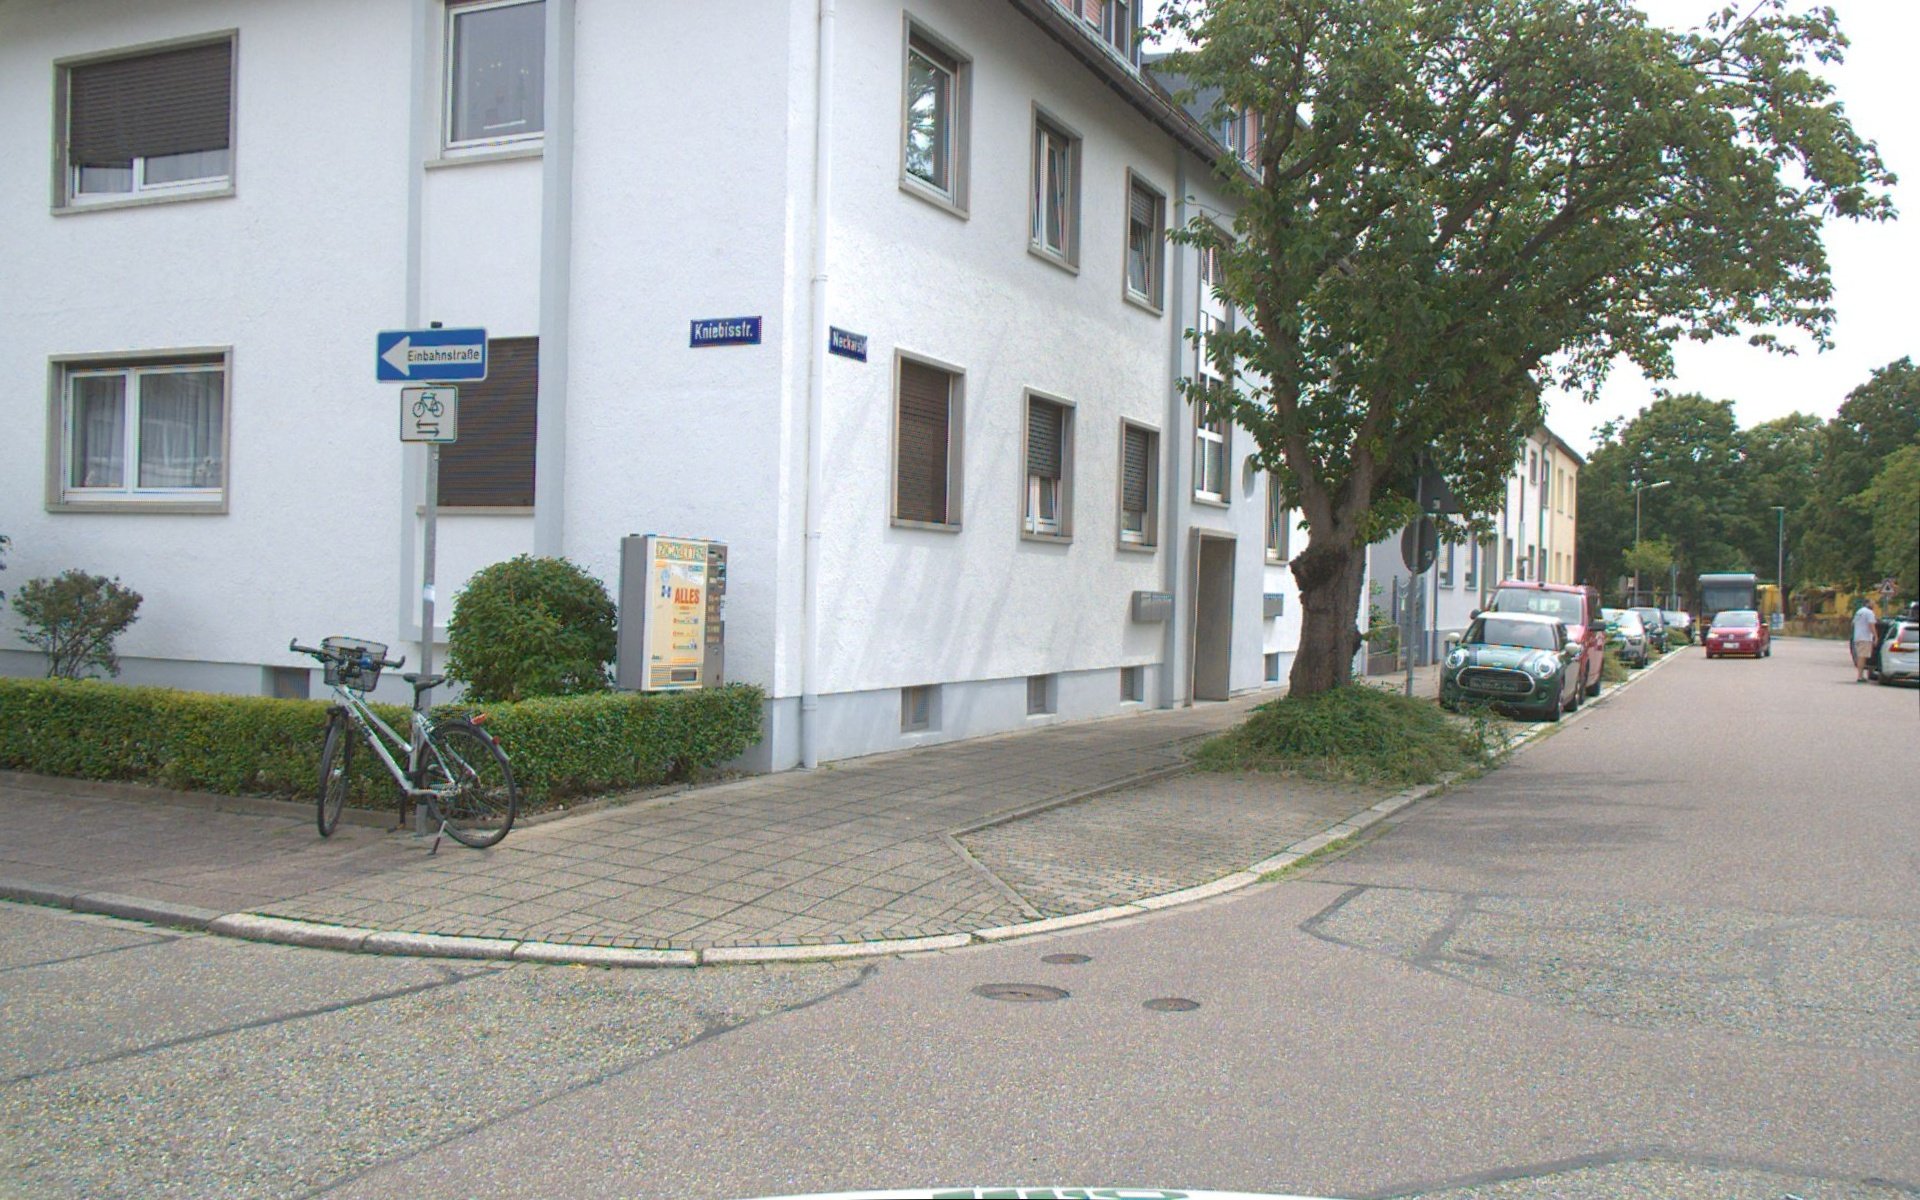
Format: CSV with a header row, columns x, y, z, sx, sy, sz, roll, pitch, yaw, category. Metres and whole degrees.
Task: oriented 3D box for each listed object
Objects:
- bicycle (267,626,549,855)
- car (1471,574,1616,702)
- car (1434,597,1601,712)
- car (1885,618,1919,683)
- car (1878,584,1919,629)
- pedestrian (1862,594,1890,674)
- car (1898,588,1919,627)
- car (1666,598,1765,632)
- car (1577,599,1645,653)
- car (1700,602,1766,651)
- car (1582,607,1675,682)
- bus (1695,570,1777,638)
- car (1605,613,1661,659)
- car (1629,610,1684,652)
x,y,z,sx,sy,sz,roll,pitch,yaw,category
-3.085,0.748,9.217,1.600,1.200,0.435,0,-1,22,bicycle
10.444,0.616,29.402,1.954,2.049,4.517,2,0,25,car
8.394,0.763,24.725,1.730,1.581,3.724,-1,-1,29,car
21.797,1.092,37.088,1.654,1.378,3.822,0,0,27,car
31.934,0.221,53.856,3.461,1.450,1.596,0,0,27,car
20.072,0.748,36.233,0.512,1.734,0.444,-1,-1,30,pedestrian
41.277,0.301,69.160,3.461,1.630,1.771,0,-1,27,car
36.274,0.708,79.436,1.855,1.569,3.935,0,-1,-44,car
17.963,0.697,45.583,1.618,1.401,3.720,0,0,23,car
24.823,0.835,53.129,1.827,1.512,3.997,0,0,25,car
14.031,0.900,34.651,1.618,1.487,3.549,0,0,25,car
34.616,0.191,73.608,2.946,2.809,8.912,-1,0,28,bus
20.381,1.065,50.024,1.507,1.324,3.720,0,0,23,car
24.305,1.060,57.648,1.618,1.401,3.719,0,0,25,car
